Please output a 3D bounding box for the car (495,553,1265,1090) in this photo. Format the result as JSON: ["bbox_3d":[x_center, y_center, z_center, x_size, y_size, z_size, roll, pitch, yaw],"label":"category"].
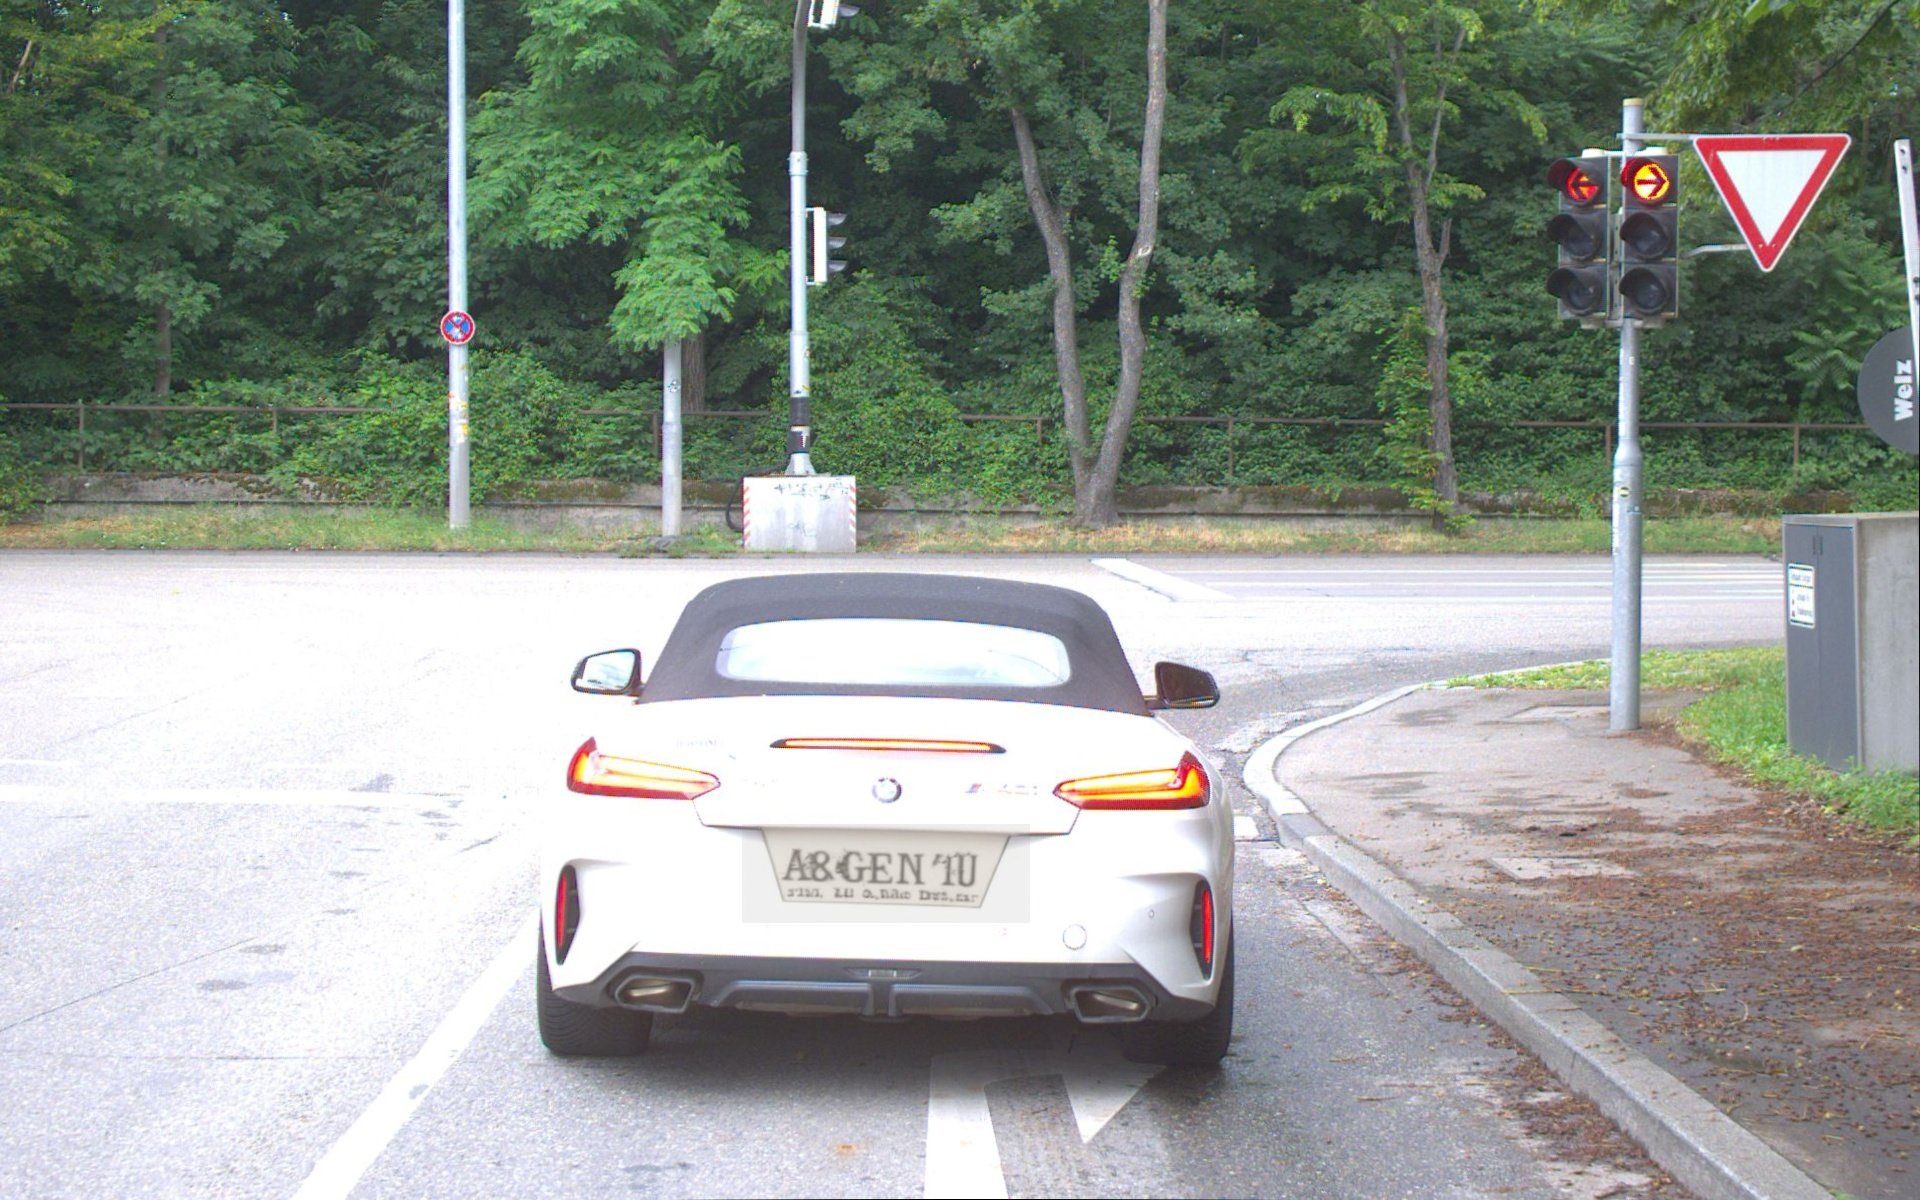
[{"bbox_3d":[-0.285,0.536,10.307,1.827,1.253,4.000,2,0,-3],"label":"car"}]
